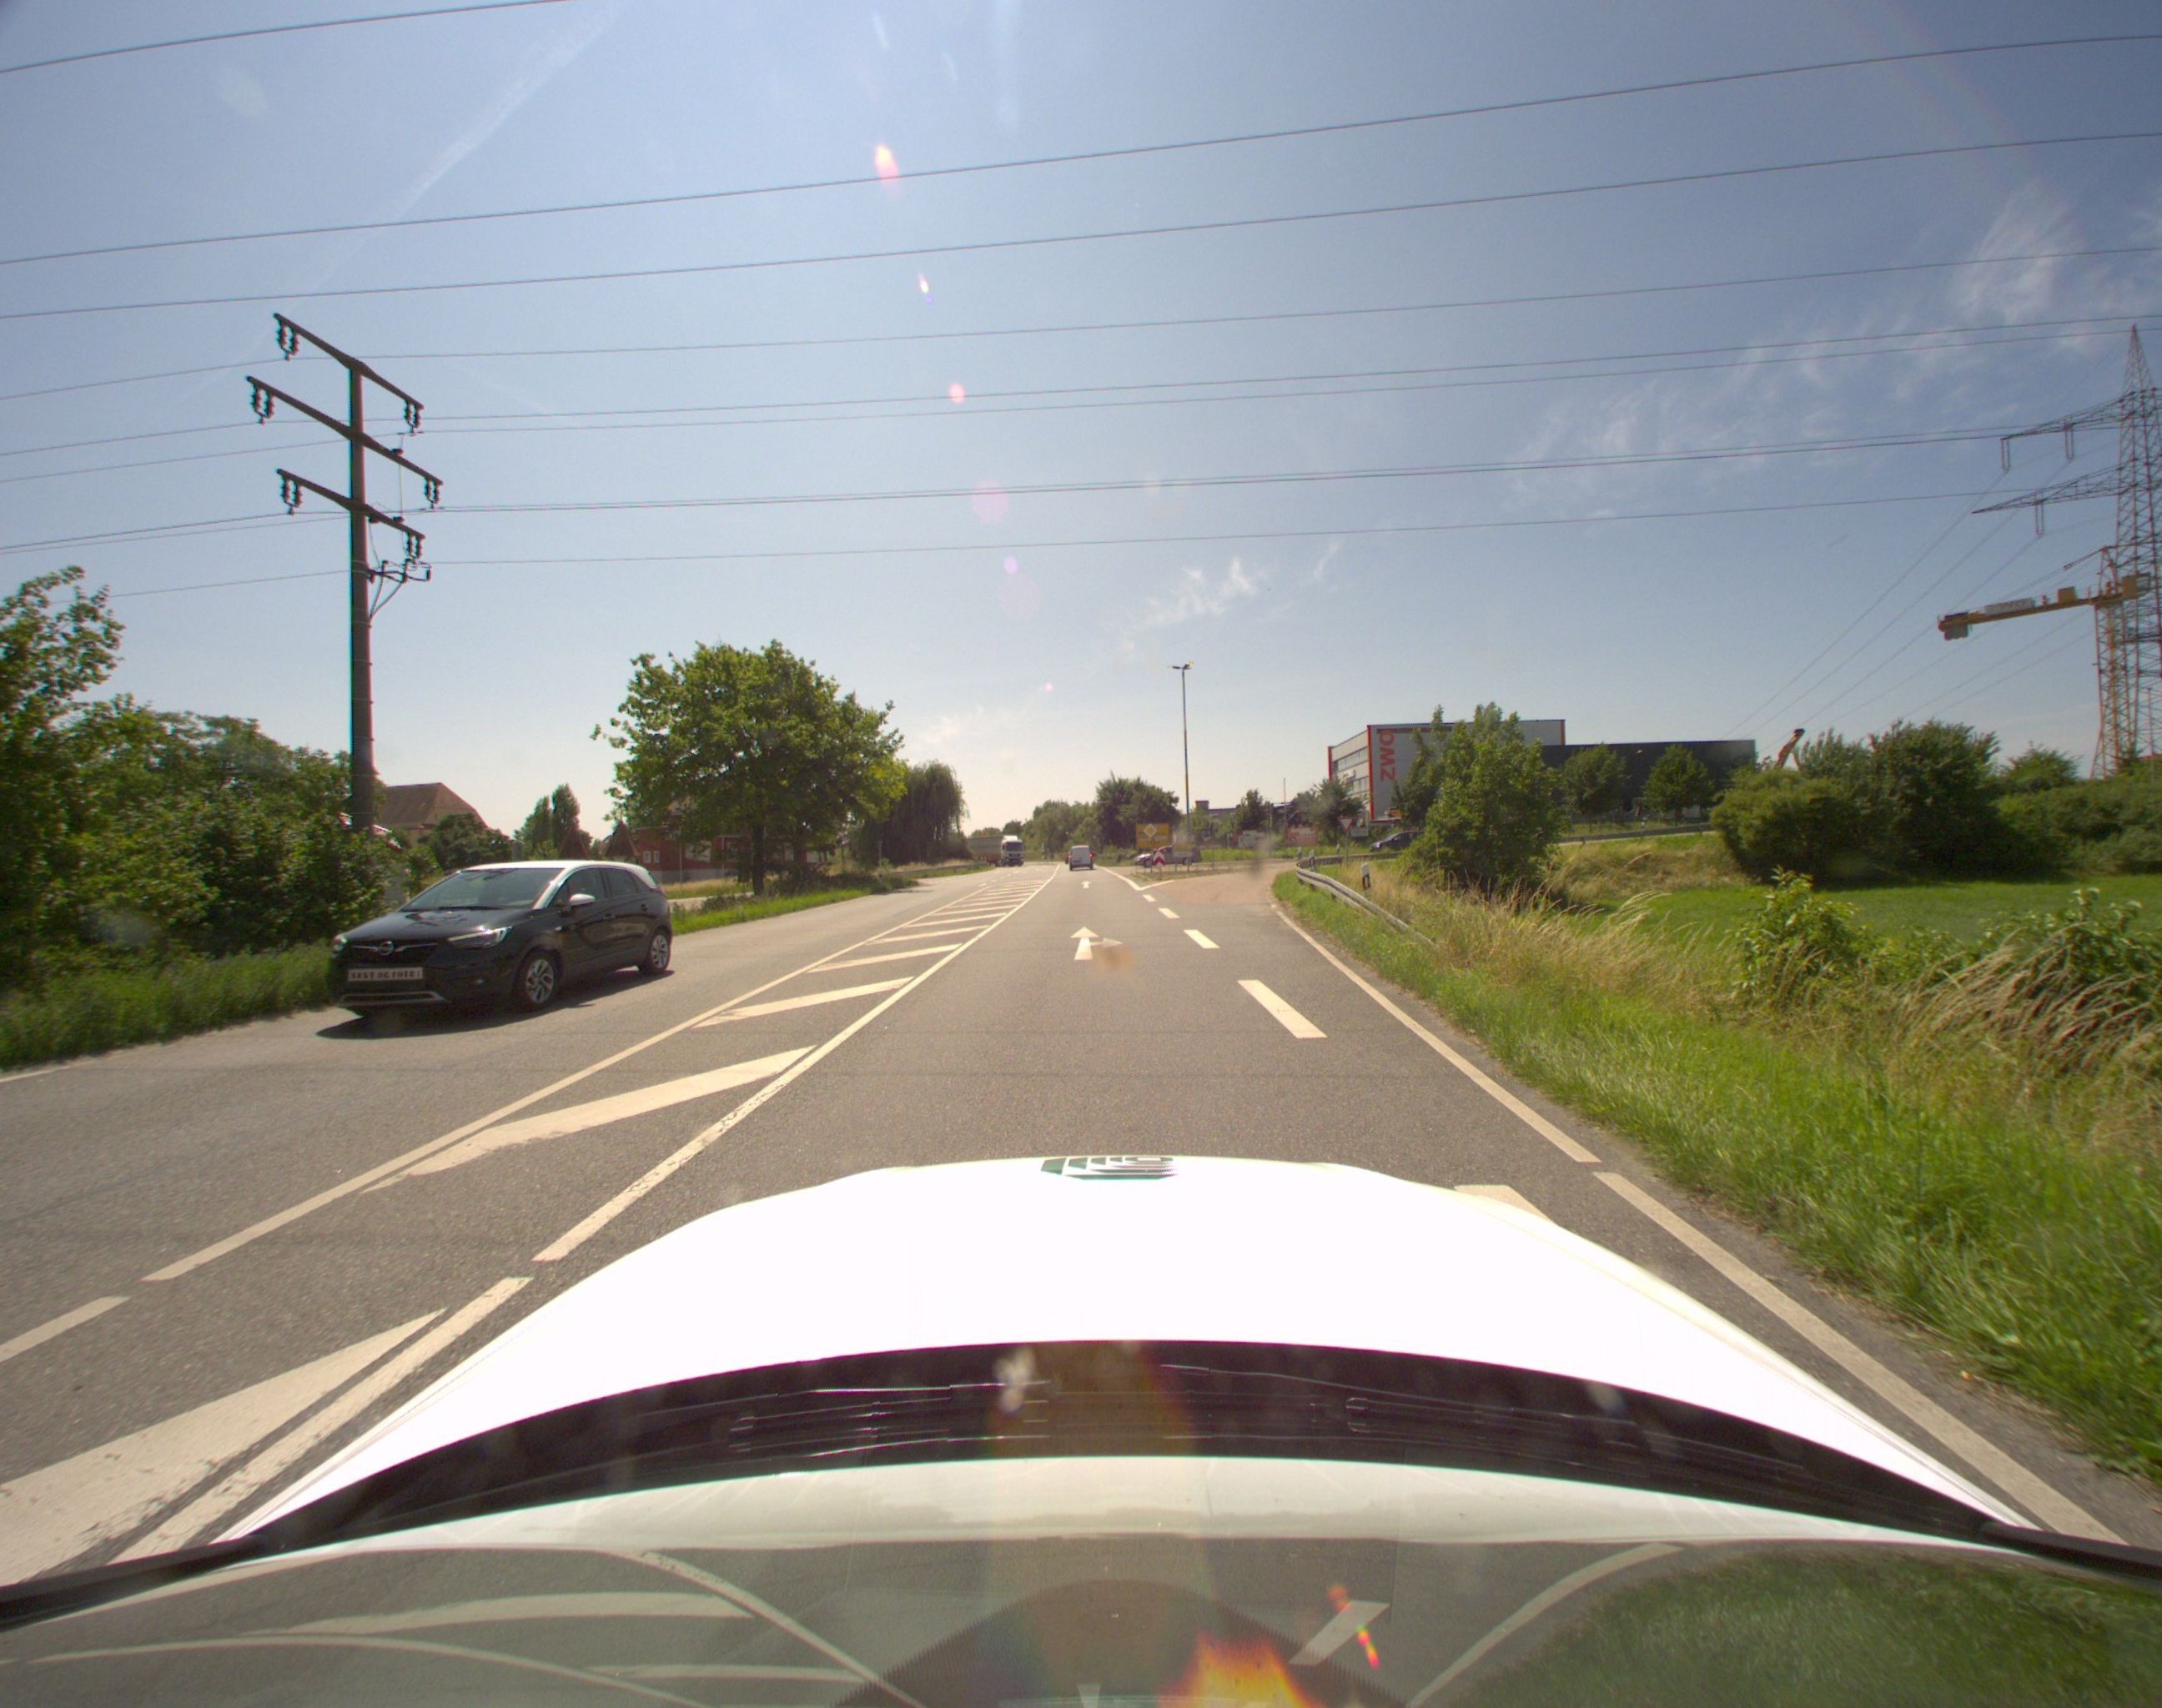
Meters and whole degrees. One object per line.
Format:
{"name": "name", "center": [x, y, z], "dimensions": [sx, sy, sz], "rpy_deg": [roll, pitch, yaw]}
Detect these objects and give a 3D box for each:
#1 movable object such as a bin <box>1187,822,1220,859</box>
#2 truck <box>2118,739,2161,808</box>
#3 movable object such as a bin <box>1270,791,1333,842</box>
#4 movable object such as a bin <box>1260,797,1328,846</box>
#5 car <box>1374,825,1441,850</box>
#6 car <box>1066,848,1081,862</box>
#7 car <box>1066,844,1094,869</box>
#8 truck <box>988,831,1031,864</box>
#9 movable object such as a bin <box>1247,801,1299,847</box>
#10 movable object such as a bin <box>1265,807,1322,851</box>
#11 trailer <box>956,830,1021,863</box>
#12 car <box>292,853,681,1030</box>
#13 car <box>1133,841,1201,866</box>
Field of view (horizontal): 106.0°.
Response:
{"name": "movable object such as a bin", "center": [11.536, -1.234, 77.052], "dimensions": [2.316, 3.250, 5.099], "rpy_deg": [0, -2, -1]}
{"name": "truck", "center": [73.012, -5.187, 51.818], "dimensions": [9.636, 4.183, 3.316], "rpy_deg": [0, -2, 0]}
{"name": "movable object such as a bin", "center": [23.294, -3.893, 86.213], "dimensions": [5.896, 5.105, 3.110], "rpy_deg": [0, -2, 2]}
{"name": "movable object such as a bin", "center": [23.491, -3.547, 90.109], "dimensions": [6.565, 5.148, 3.808], "rpy_deg": [0, -2, 2]}
{"name": "car", "center": [22.555, -1.142, 56.375], "dimensions": [3.984, 1.440, 1.635], "rpy_deg": [-3, 0, 1]}
{"name": "car", "center": [-0.939, 0.107, 102.004], "dimensions": [1.800, 1.556, 3.999], "rpy_deg": [-2, 2, -1]}
{"name": "car", "center": [-0.103, 0.168, 60.773], "dimensions": [1.900, 1.732, 3.817], "rpy_deg": [-2, 0, -3]}
{"name": "truck", "center": [-9.168, -0.783, 103.835], "dimensions": [2.808, 4.056, 6.688], "rpy_deg": [-1, 1, -30]}
{"name": "movable object such as a bin", "center": [23.288, -3.597, 99.066], "dimensions": [5.694, 5.270, 3.222], "rpy_deg": [0, -2, 2]}
{"name": "movable object such as a bin", "center": [21.268, -2.466, 81.684], "dimensions": [5.065, 4.275, 2.835], "rpy_deg": [0, -2, 2]}
{"name": "trailer", "center": [-12.550, -0.994, 109.149], "dimensions": [2.810, 4.056, 13.360], "rpy_deg": [-1, 1, -34]}
{"name": "car", "center": [-6.409, 0.795, 9.443], "dimensions": [1.728, 1.590, 3.953], "rpy_deg": [-1, 0, -3]}
{"name": "car", "center": [5.987, -0.056, 56.799], "dimensions": [4.497, 1.508, 1.914], "rpy_deg": [-3, 0, -1]}
